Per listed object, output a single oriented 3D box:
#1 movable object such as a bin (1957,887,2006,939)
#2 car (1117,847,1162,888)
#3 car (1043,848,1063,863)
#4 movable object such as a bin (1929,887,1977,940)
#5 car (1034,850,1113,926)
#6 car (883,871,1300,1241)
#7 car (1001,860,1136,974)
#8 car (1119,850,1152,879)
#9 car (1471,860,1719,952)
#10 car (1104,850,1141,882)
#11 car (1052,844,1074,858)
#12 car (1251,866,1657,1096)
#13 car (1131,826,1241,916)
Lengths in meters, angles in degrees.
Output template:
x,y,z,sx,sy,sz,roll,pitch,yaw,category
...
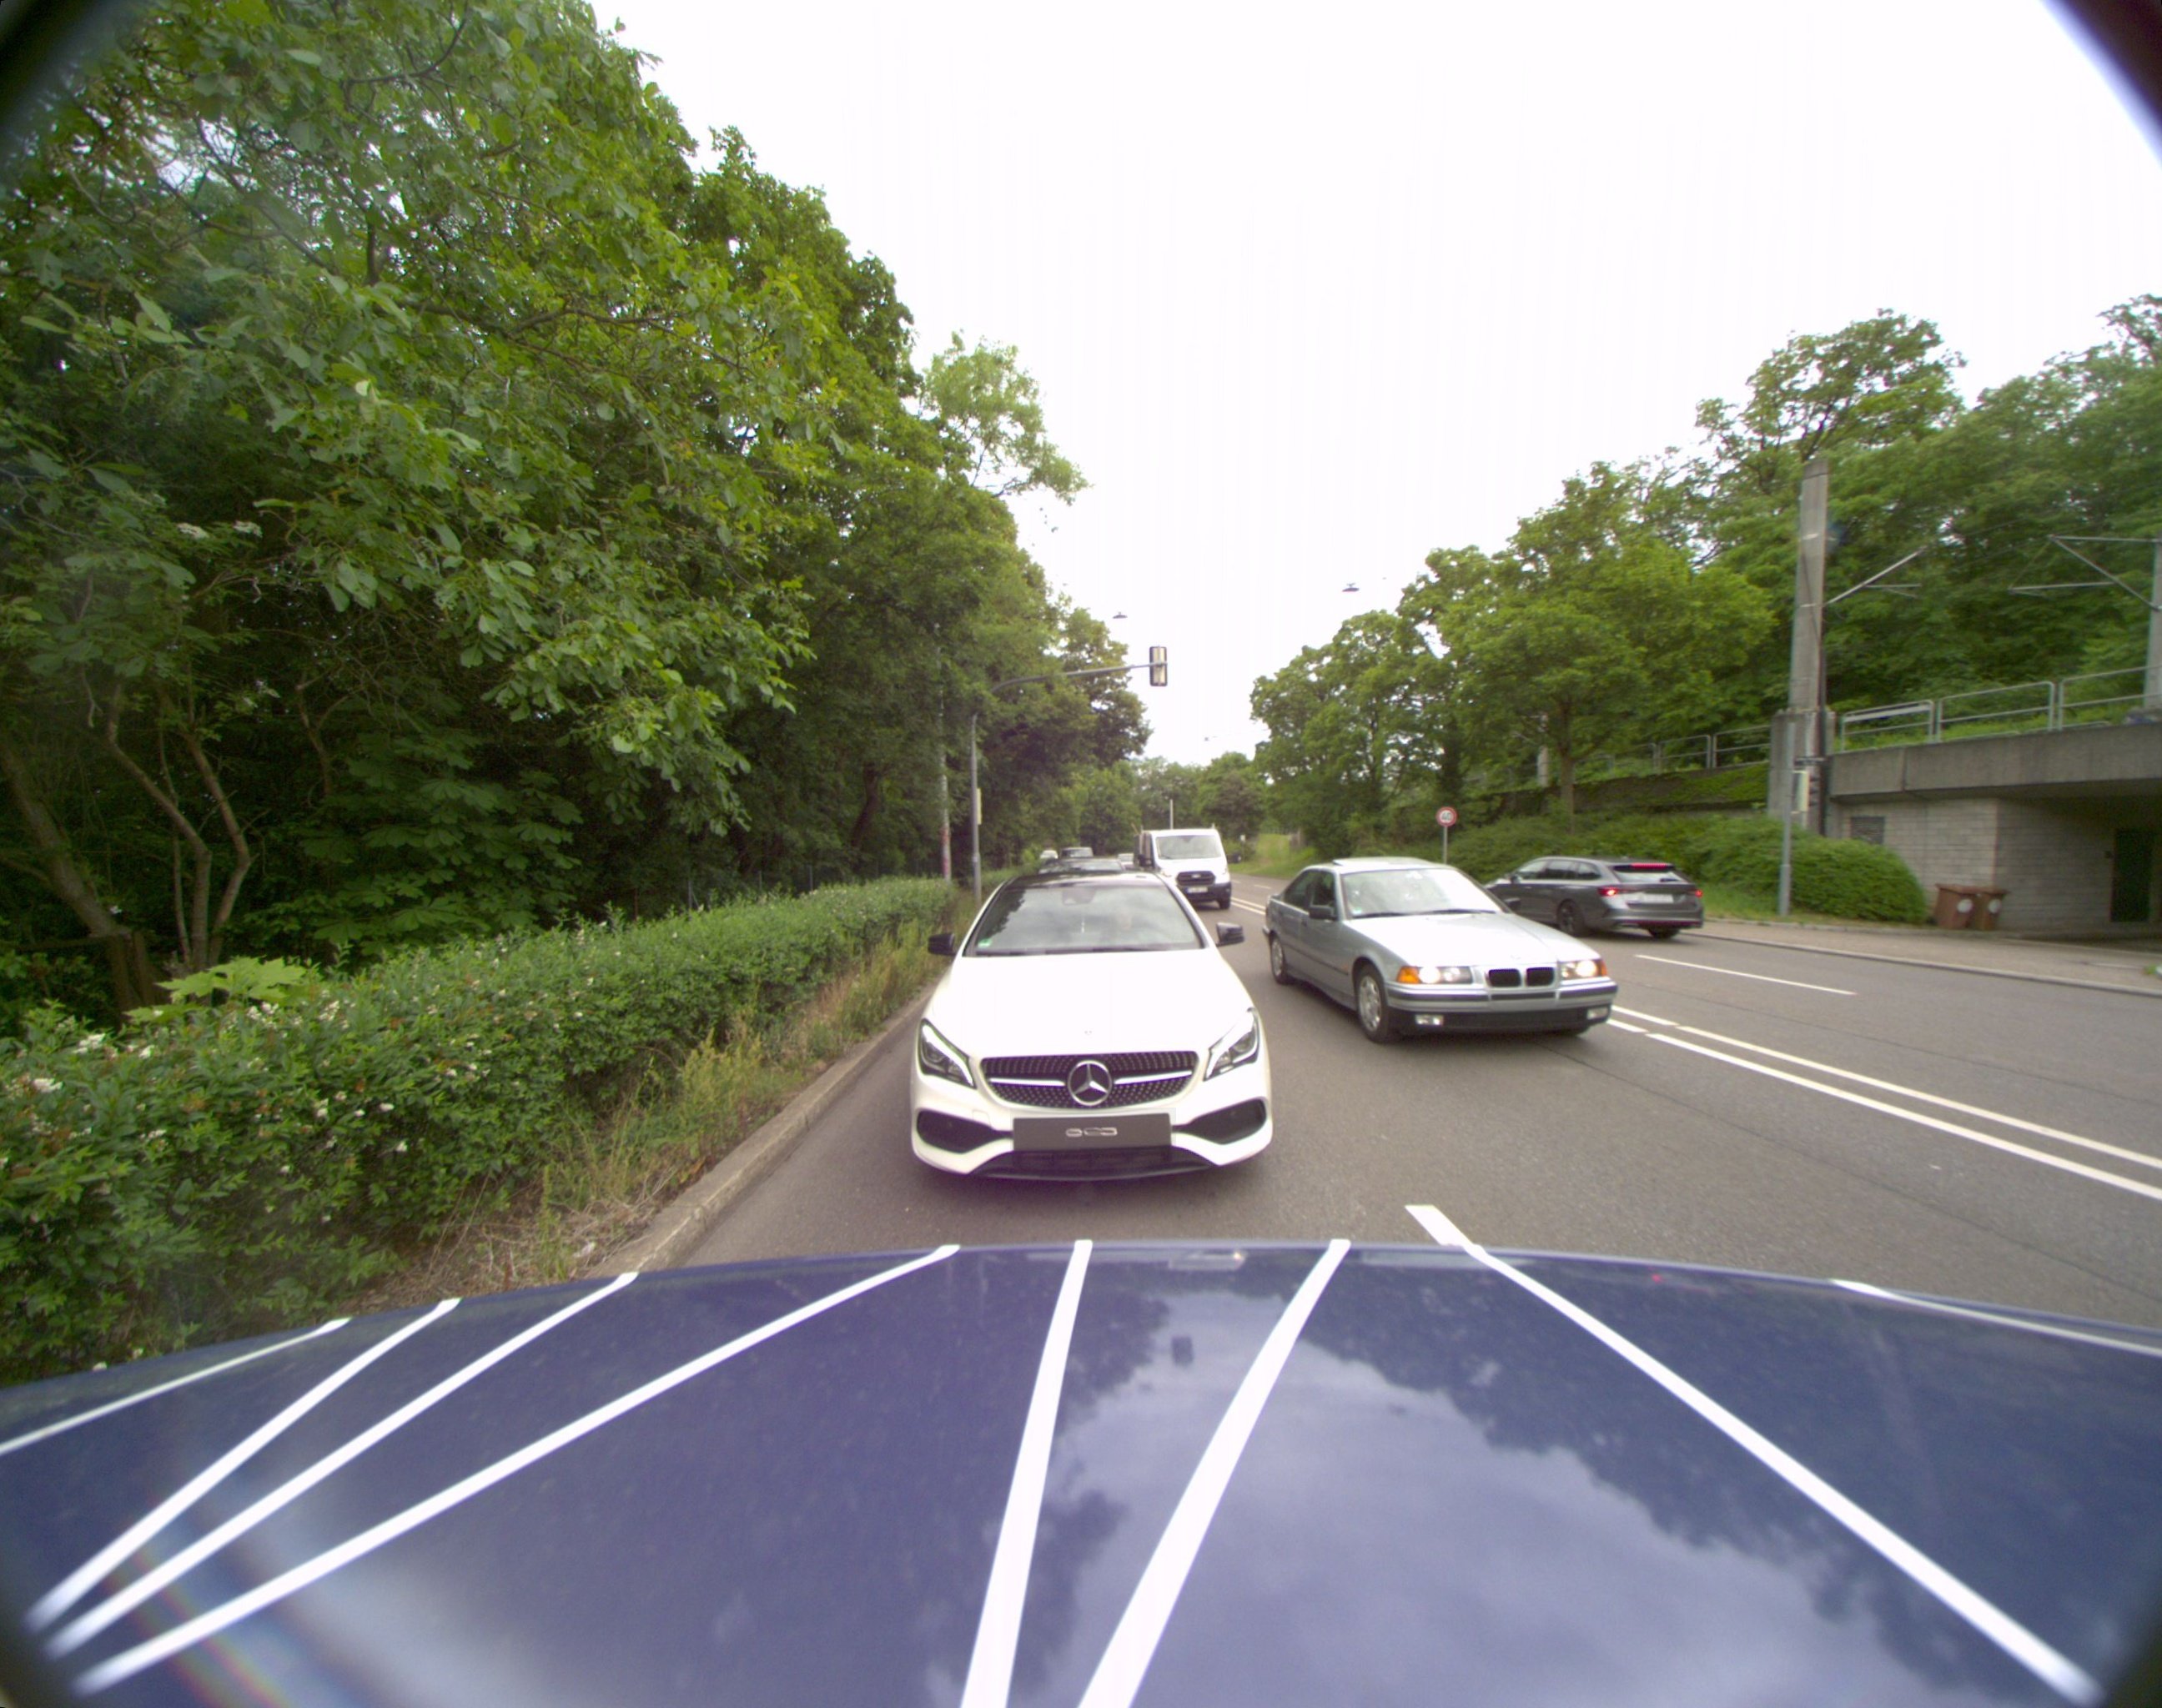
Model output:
x,y,z,sx,sy,sz,roll,pitch,yaw,category
18.983,1.241,16.025,0.419,1.057,0.503,0,1,-4,movable object such as a bin
2.543,0.562,33.998,1.800,1.740,4.000,0,0,1,car
-2.753,0.115,74.859,1.765,1.433,3.891,1,0,0,car
18.325,1.241,15.974,0.419,1.057,0.503,0,1,-4,movable object such as a bin
-0.119,0.755,19.118,1.794,1.713,4.000,0,0,1,car
0.074,0.954,5.396,1.801,1.470,4.010,-2,0,1,car
-0.084,0.833,11.845,1.755,1.417,4.011,0,0,2,car
3.318,0.595,46.927,1.854,1.641,4.358,1,0,3,car
9.264,0.845,14.227,1.684,1.387,4.360,0,0,0,car
2.137,0.609,40.027,1.855,1.583,4.000,0,0,2,car
-2.106,-0.324,90.385,1.754,1.575,4.013,1,0,10,car
2.930,0.866,7.084,1.664,1.382,4.182,-1,0,-1,car
2.834,0.415,22.121,2.285,2.187,6.458,-1,0,0,car
